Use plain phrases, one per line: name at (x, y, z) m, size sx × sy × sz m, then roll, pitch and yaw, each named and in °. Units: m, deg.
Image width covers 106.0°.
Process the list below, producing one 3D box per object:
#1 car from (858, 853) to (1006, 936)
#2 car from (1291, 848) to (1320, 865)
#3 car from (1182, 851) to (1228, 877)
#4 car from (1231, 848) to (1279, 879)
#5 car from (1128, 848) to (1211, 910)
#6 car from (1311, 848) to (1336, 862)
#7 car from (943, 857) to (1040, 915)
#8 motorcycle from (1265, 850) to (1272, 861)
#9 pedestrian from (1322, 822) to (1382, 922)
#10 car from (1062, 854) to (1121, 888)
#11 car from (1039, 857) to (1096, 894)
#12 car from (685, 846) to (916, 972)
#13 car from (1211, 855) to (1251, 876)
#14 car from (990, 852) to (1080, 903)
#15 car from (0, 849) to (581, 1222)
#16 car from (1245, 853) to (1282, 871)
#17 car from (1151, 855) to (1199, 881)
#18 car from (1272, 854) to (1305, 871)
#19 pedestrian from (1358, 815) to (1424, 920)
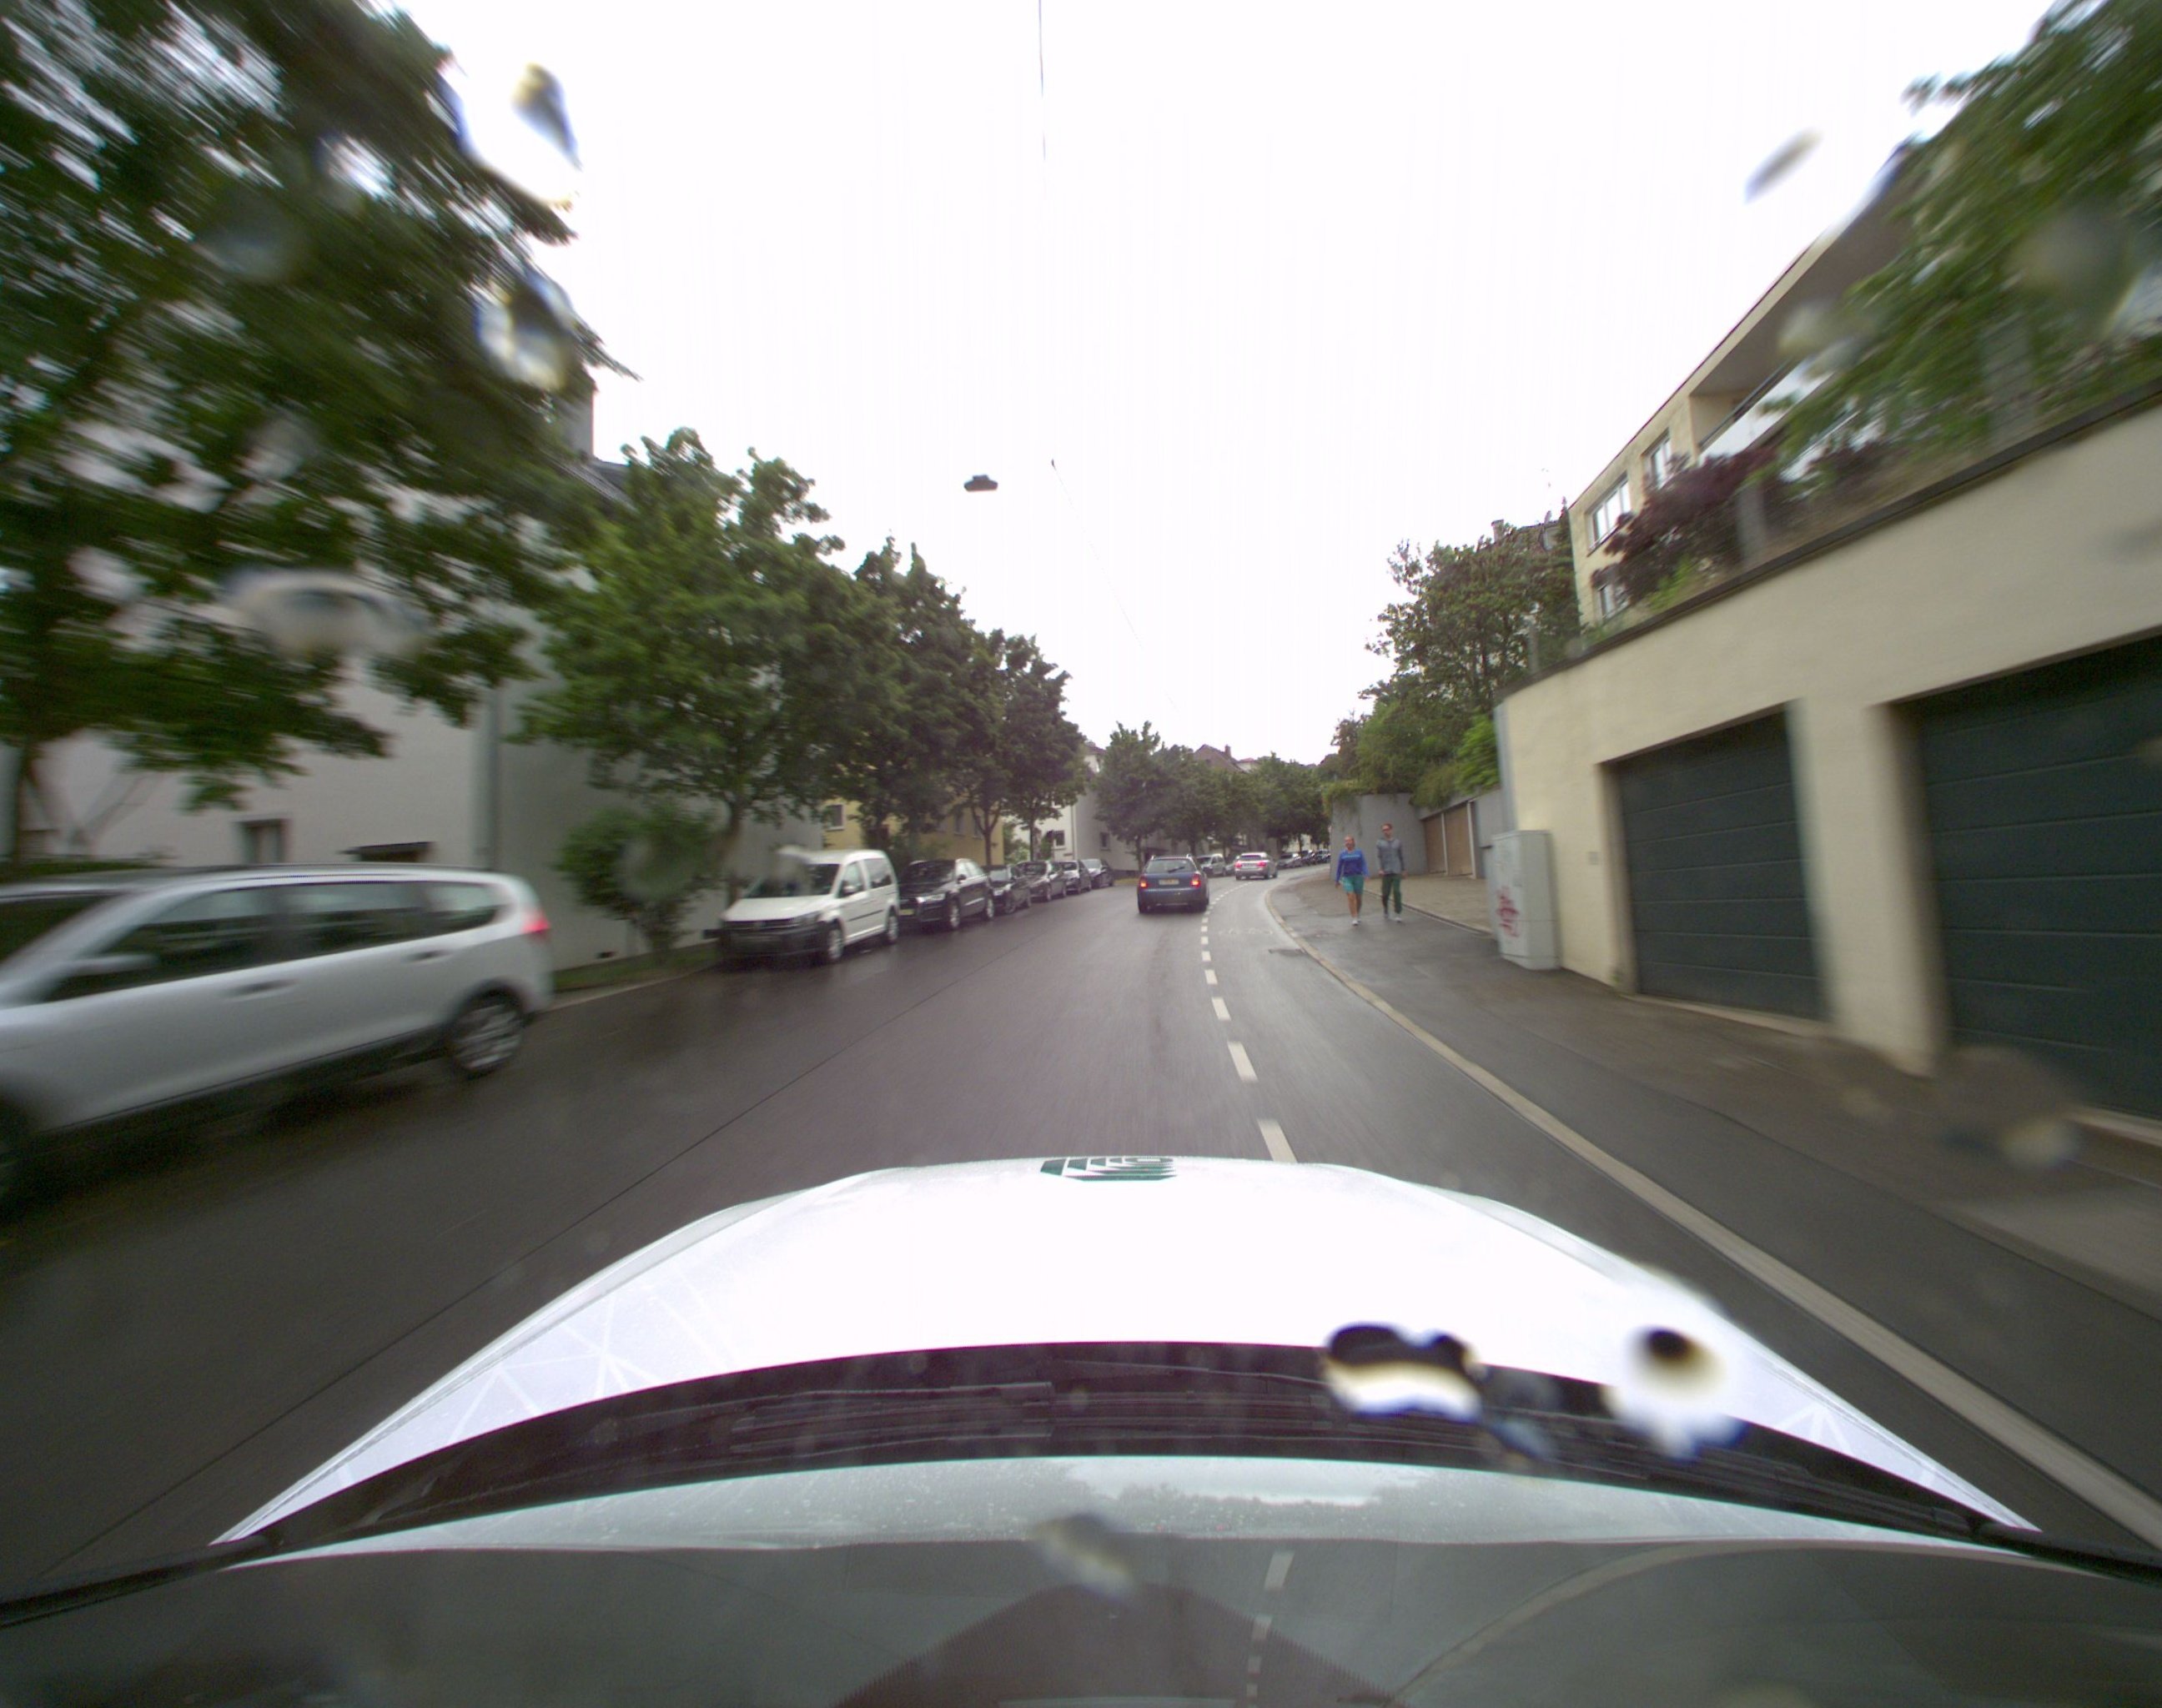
car at (-3.369, 0.869, 19.424) m, size 1.842 × 1.668 × 4.601 m, roll -3°, pitch -1°, yaw 11°
car at (23.354, 0.247, 84.744) m, size 1.787 × 1.627 × 4.165 m, roll -4°, pitch -1°, yaw 30°
car at (9.217, 0.745, 60.405) m, size 1.767 × 1.646 × 4.372 m, roll -7°, pitch -4°, yaw 29°
car at (9.677, 0.501, 45.116) m, size 1.933 × 1.561 × 4.285 m, roll 0°, pitch 1°, yaw 21°
car at (2.475, 0.612, 21.881) m, size 1.842 × 1.414 × 4.373 m, roll -4°, pitch -1°, yaw 10°
car at (27.200, 0.097, 91.172) m, size 1.696 × 1.462 × 3.906 m, roll -3°, pitch 1°, yaw 31°
car at (-2.563, 0.889, 24.600) m, size 1.844 × 1.498 × 4.750 m, roll -2°, pitch 0°, yaw 7°
motorcycle at (21.270, 0.158, 92.349) m, size 0.407 × 1.098 × 1.630 m, roll -5°, pitch -1°, yaw 25°
pedestrian at (5.057, 0.334, 15.277) m, size 0.771 × 1.758 × 1.014 m, roll -4°, pitch -1°, yaw 7°
car at (0.583, 0.818, 40.239) m, size 1.762 × 1.540 × 4.535 m, roll -2°, pitch -1°, yaw 16°
car at (-0.510, 0.869, 35.053) m, size 1.604 × 1.396 × 4.335 m, roll -3°, pitch 0°, yaw 10°
car at (-4.555, 0.814, 14.082) m, size 1.843 × 1.777 × 4.493 m, roll -2°, pitch 0°, yaw 8°
car at (12.049, 0.909, 65.202) m, size 1.787 × 1.486 × 4.261 m, roll -7°, pitch -4°, yaw 28°
car at (-1.607, 0.808, 30.123) m, size 1.840 × 1.690 × 4.574 m, roll -2°, pitch 0°, yaw 16°
car at (-5.621, 0.859, 5.026) m, size 1.737 × 1.690 × 4.610 m, roll -2°, pitch 0°, yaw 8°
car at (15.760, 0.670, 70.038) m, size 1.787 × 1.453 × 4.625 m, roll -3°, pitch -2°, yaw 29°
car at (6.396, 0.952, 55.198) m, size 1.768 × 1.514 × 4.371 m, roll -7°, pitch -4°, yaw 25°
car at (20.237, 0.807, 79.229) m, size 1.787 × 1.552 × 4.829 m, roll -3°, pitch -2°, yaw 30°
pedestrian at (5.749, 0.254, 15.167) m, size 0.771 × 1.832 × 1.254 m, roll -4°, pitch -1°, yaw 7°
